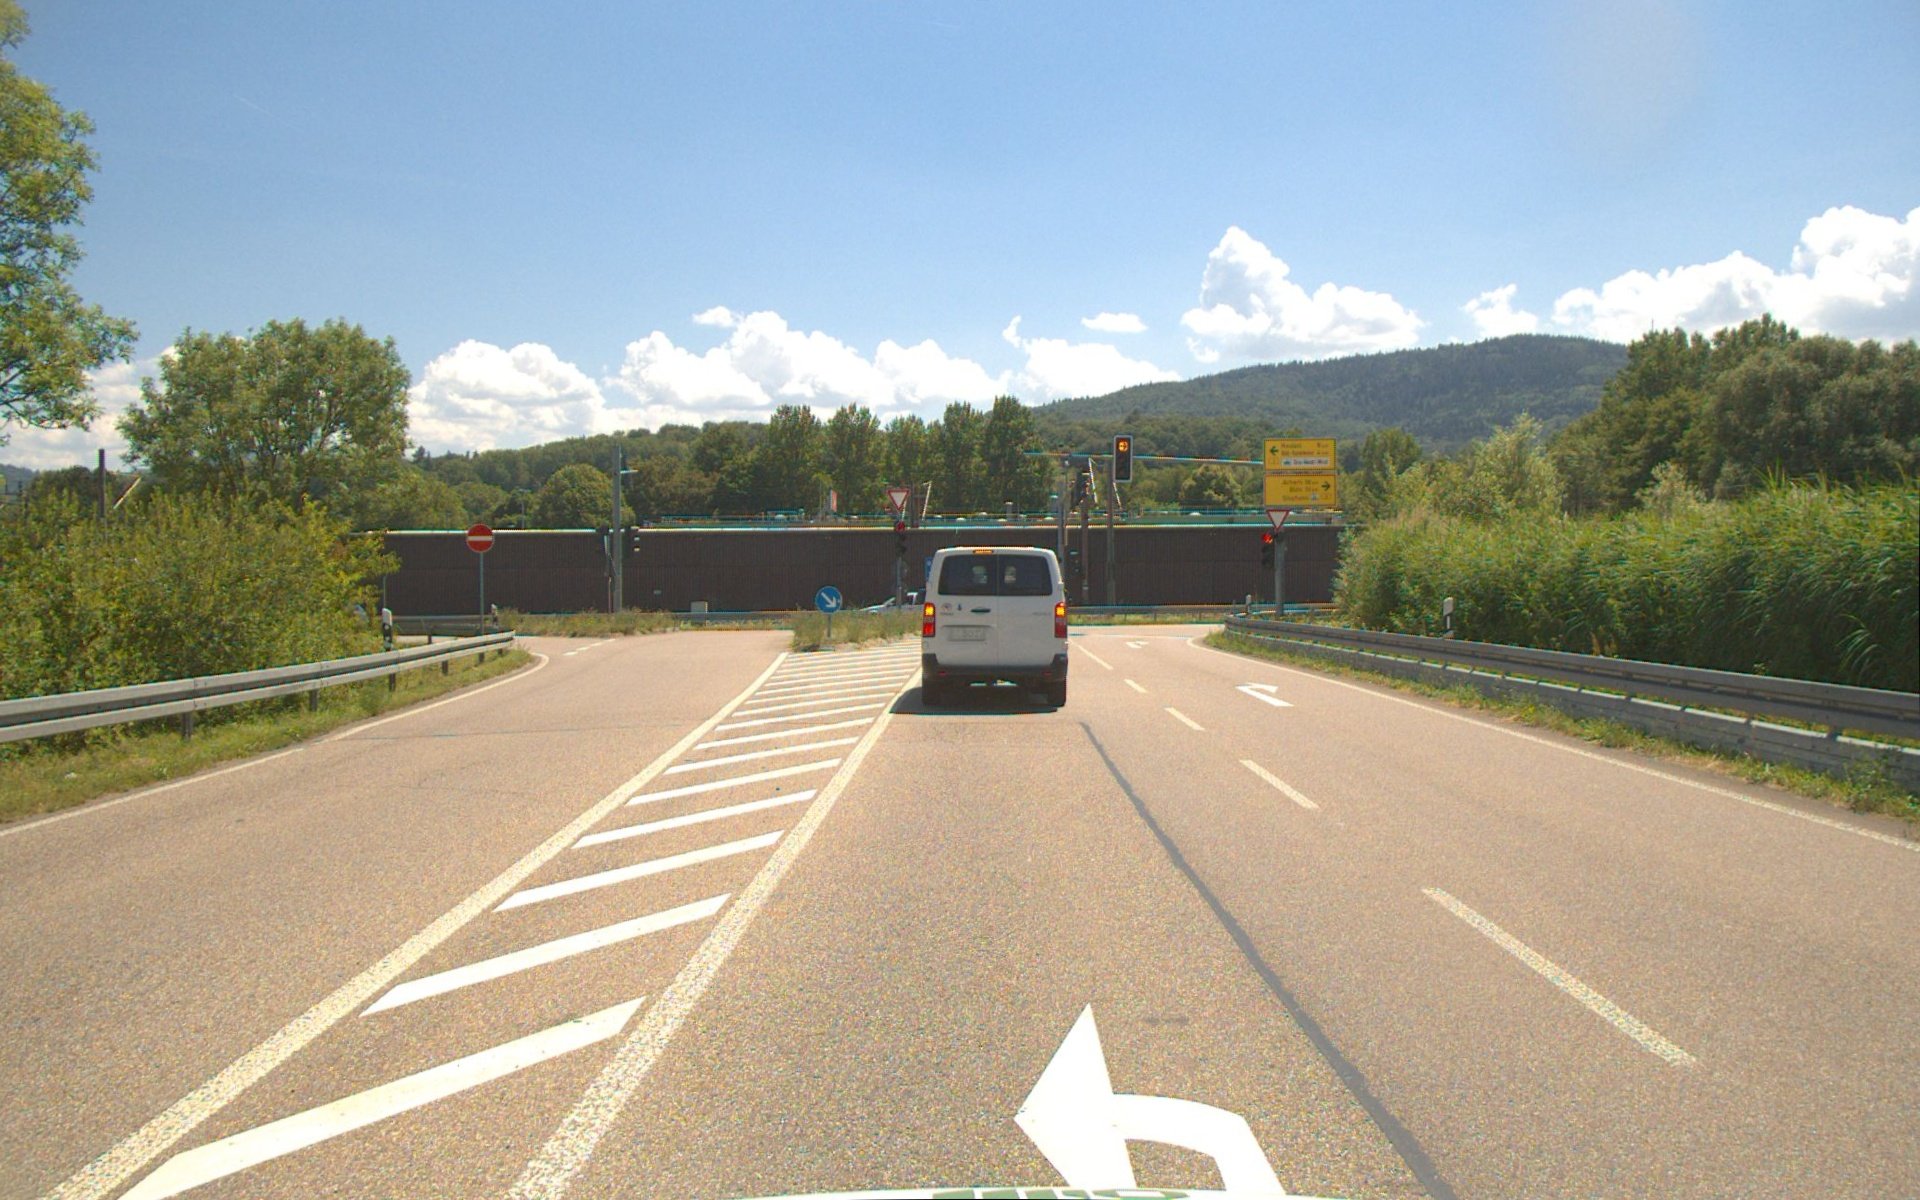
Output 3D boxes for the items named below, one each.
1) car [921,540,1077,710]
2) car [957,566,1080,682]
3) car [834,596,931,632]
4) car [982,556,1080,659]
[{"bbox_3d":[0.483,0.284,21.426,1.832,1.999,4.000,0,0,1],"label":"car"},{"bbox_3d":[0.999,0.391,29.279,1.952,1.844,4.000,-2,0,1],"label":"car"},{"bbox_3d":[-3.183,0.583,68.579,3.905,1.373,1.849,1,2,0],"label":"car"},{"bbox_3d":[1.492,0.143,36.067,1.952,2.048,4.000,-2,0,1],"label":"car"}]
